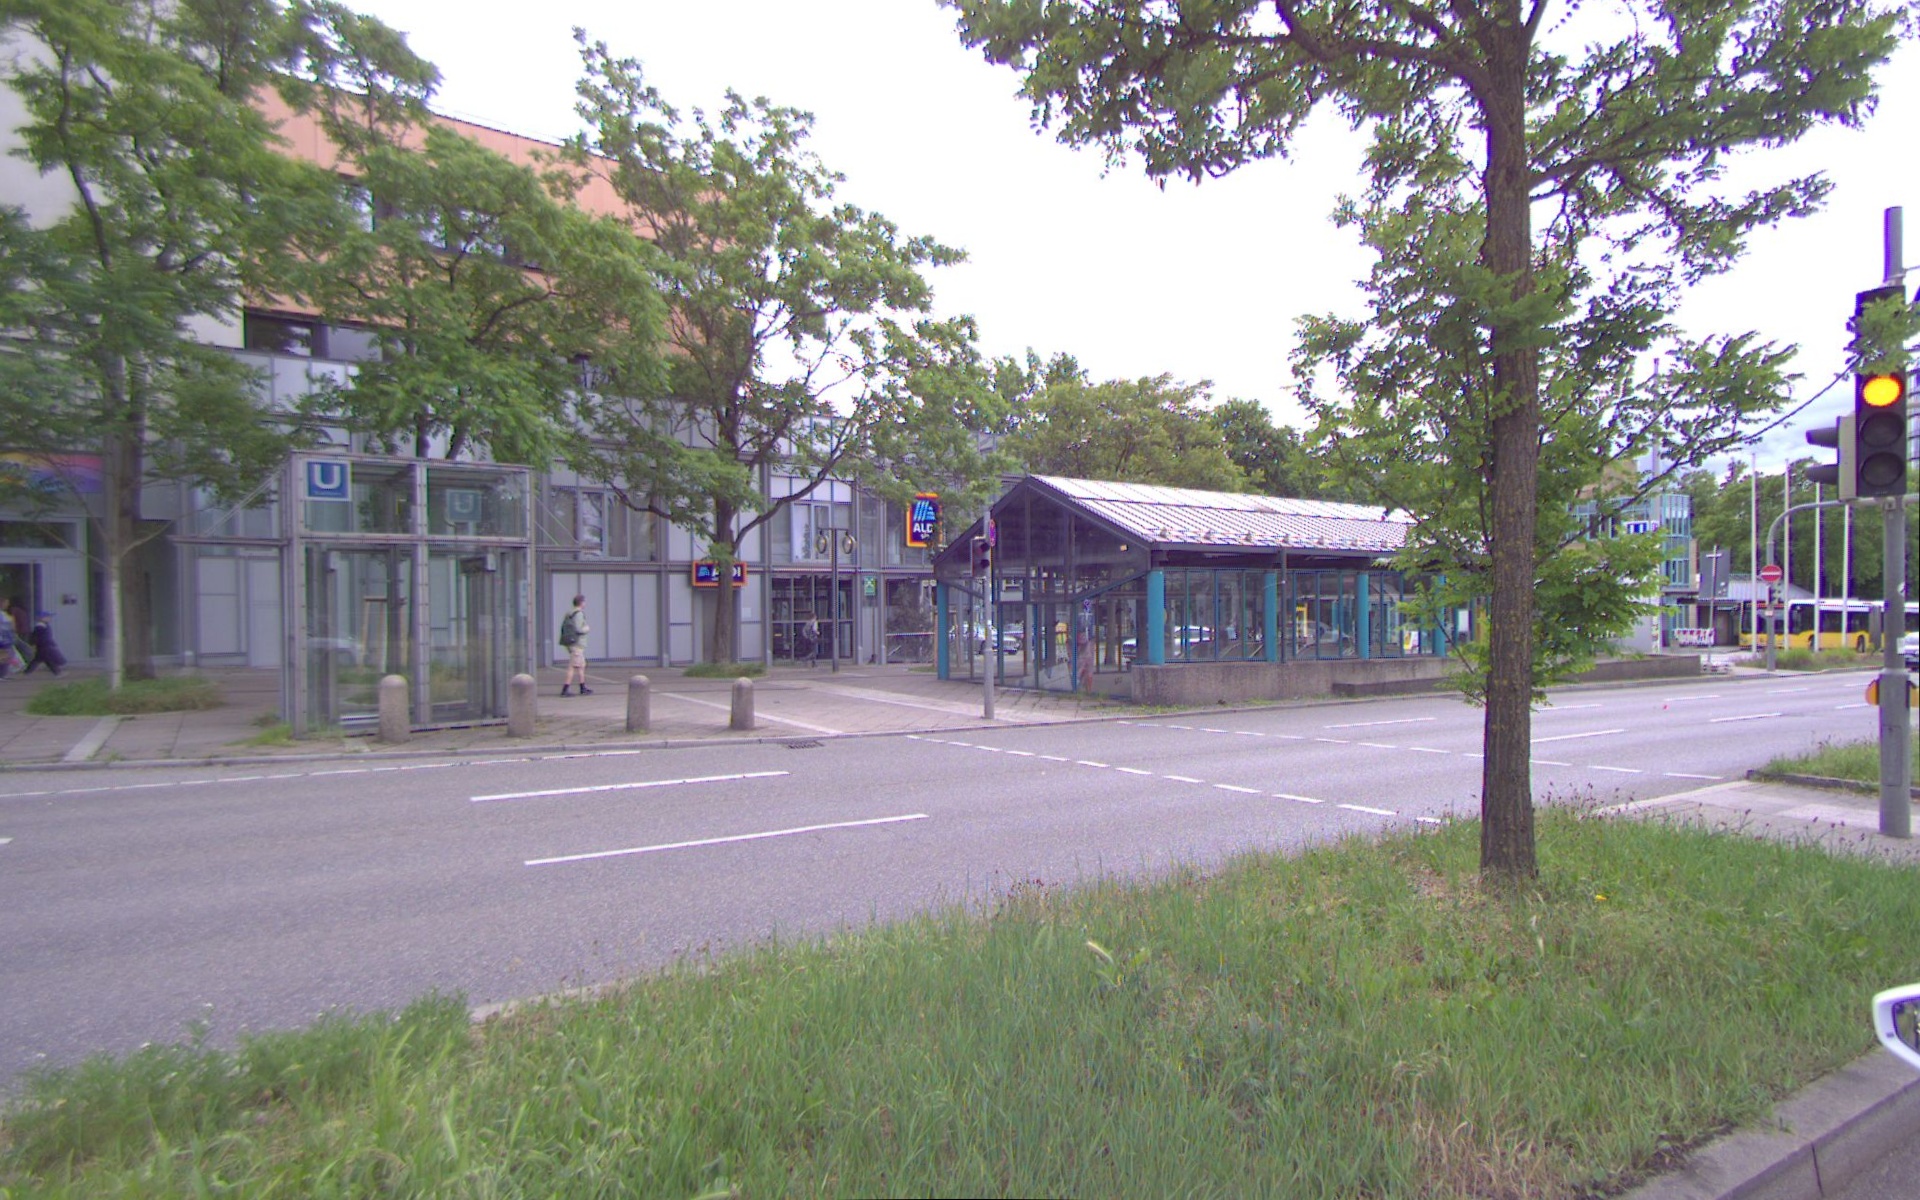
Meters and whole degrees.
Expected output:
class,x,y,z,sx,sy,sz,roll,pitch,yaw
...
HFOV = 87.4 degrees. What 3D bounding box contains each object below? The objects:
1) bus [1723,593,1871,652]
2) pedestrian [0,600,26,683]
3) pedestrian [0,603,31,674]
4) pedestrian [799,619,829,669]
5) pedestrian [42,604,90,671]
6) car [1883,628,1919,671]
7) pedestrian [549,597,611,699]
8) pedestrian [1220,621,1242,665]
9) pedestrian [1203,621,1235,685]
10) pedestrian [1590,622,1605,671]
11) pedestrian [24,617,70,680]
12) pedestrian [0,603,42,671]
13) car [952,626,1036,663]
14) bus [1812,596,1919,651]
class,x,y,z,sx,sy,sz,roll,pitch,yaw
bus,49.925,1.376,59.827,10.036,3.293,2.980,1,-1,-26
pedestrian,-17.712,0.762,18.547,0.617,1.523,0.562,1,-1,-40
pedestrian,-19.180,0.767,20.170,0.689,1.393,0.578,1,-1,-37
pedestrian,-4.474,1.335,30.807,0.748,1.499,0.525,1,-1,-36
pedestrian,-18.843,0.782,21.181,0.689,1.393,0.578,1,-1,-37
car,37.550,1.912,39.166,3.316,1.599,1.673,1,-1,-36
pedestrian,-7.059,0.881,18.673,0.530,1.857,0.916,0,-1,44
pedestrian,10.416,1.645,38.594,0.703,1.677,0.517,1,-1,-37
pedestrian,7.331,1.493,28.446,0.750,1.786,0.524,1,-1,-41
pedestrian,20.981,1.524,33.066,0.412,1.612,0.356,0,-1,31
pedestrian,-17.641,0.927,19.421,0.617,1.197,0.417,1,-1,-40
pedestrian,-19.540,0.760,20.816,0.689,1.393,0.578,1,-1,-37
car,1.652,2.193,50.379,1.769,1.710,4.838,1,-1,-33
bus,57.922,1.537,63.768,7.771,3.313,2.980,1,-1,-26
